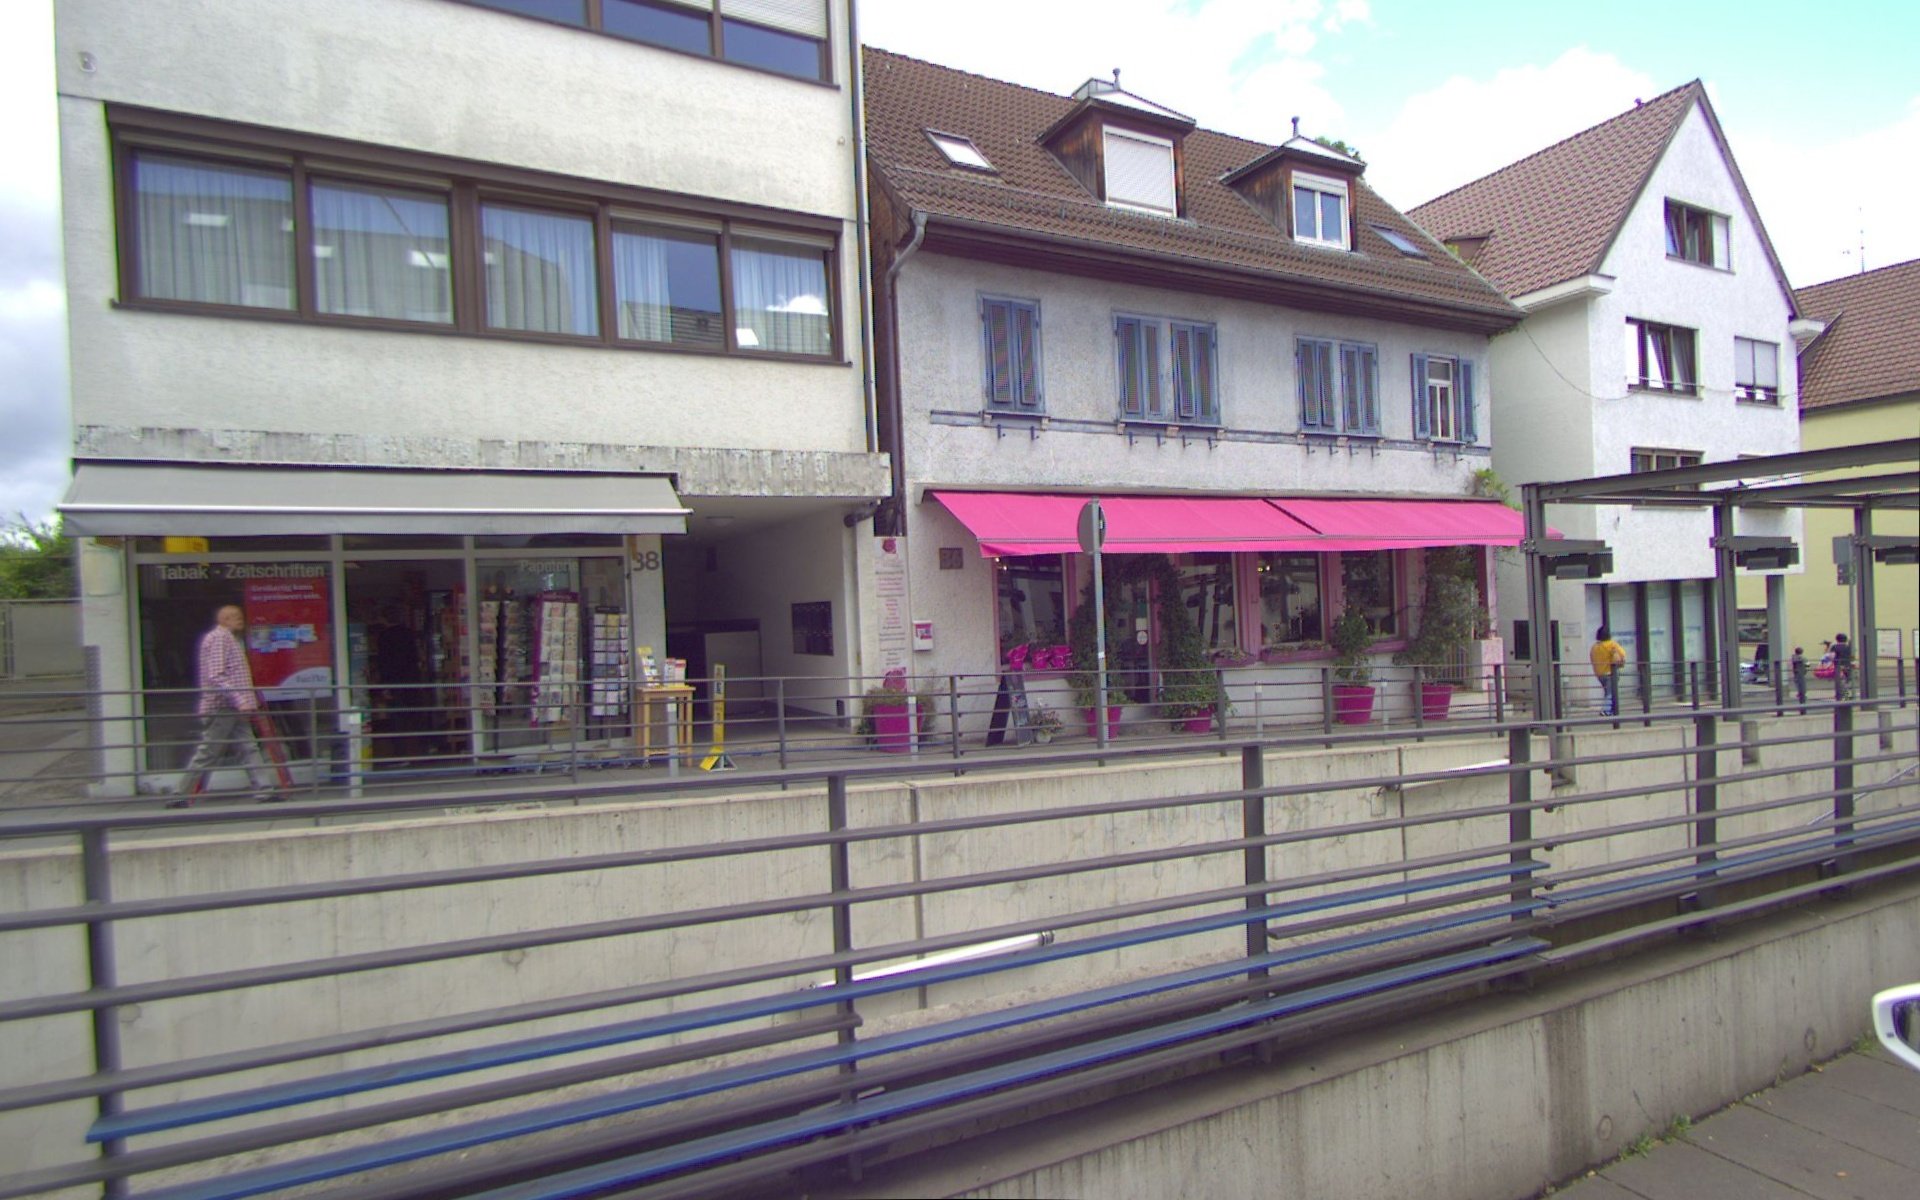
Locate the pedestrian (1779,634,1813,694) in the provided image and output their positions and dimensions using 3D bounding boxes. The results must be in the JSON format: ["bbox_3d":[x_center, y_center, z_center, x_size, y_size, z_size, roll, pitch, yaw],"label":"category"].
[{"bbox_3d":[20.580,1.572,24.726,0.527,1.440,0.455,1,0,-27],"label":"pedestrian"}]

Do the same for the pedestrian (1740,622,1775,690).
[{"bbox_3d":[20.699,1.446,26.077,0.559,1.711,0.606,1,0,-44],"label":"pedestrian"}]

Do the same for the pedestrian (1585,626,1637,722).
[{"bbox_3d":[12.022,1.349,18.554,0.570,1.711,0.575,1,0,-30],"label":"pedestrian"}]

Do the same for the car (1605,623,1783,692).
[{"bbox_3d":[22.596,1.705,31.142,1.805,1.754,4.178,1,2,-16],"label":"car"}]

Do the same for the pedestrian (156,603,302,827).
[{"bbox_3d":[-5.898,0.894,8.150,0.816,1.711,0.637,1,-2,-25],"label":"pedestrian"}]

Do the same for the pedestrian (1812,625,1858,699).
[{"bbox_3d":[20.939,1.470,24.044,0.671,1.711,0.622,1,0,-30],"label":"pedestrian"}]
